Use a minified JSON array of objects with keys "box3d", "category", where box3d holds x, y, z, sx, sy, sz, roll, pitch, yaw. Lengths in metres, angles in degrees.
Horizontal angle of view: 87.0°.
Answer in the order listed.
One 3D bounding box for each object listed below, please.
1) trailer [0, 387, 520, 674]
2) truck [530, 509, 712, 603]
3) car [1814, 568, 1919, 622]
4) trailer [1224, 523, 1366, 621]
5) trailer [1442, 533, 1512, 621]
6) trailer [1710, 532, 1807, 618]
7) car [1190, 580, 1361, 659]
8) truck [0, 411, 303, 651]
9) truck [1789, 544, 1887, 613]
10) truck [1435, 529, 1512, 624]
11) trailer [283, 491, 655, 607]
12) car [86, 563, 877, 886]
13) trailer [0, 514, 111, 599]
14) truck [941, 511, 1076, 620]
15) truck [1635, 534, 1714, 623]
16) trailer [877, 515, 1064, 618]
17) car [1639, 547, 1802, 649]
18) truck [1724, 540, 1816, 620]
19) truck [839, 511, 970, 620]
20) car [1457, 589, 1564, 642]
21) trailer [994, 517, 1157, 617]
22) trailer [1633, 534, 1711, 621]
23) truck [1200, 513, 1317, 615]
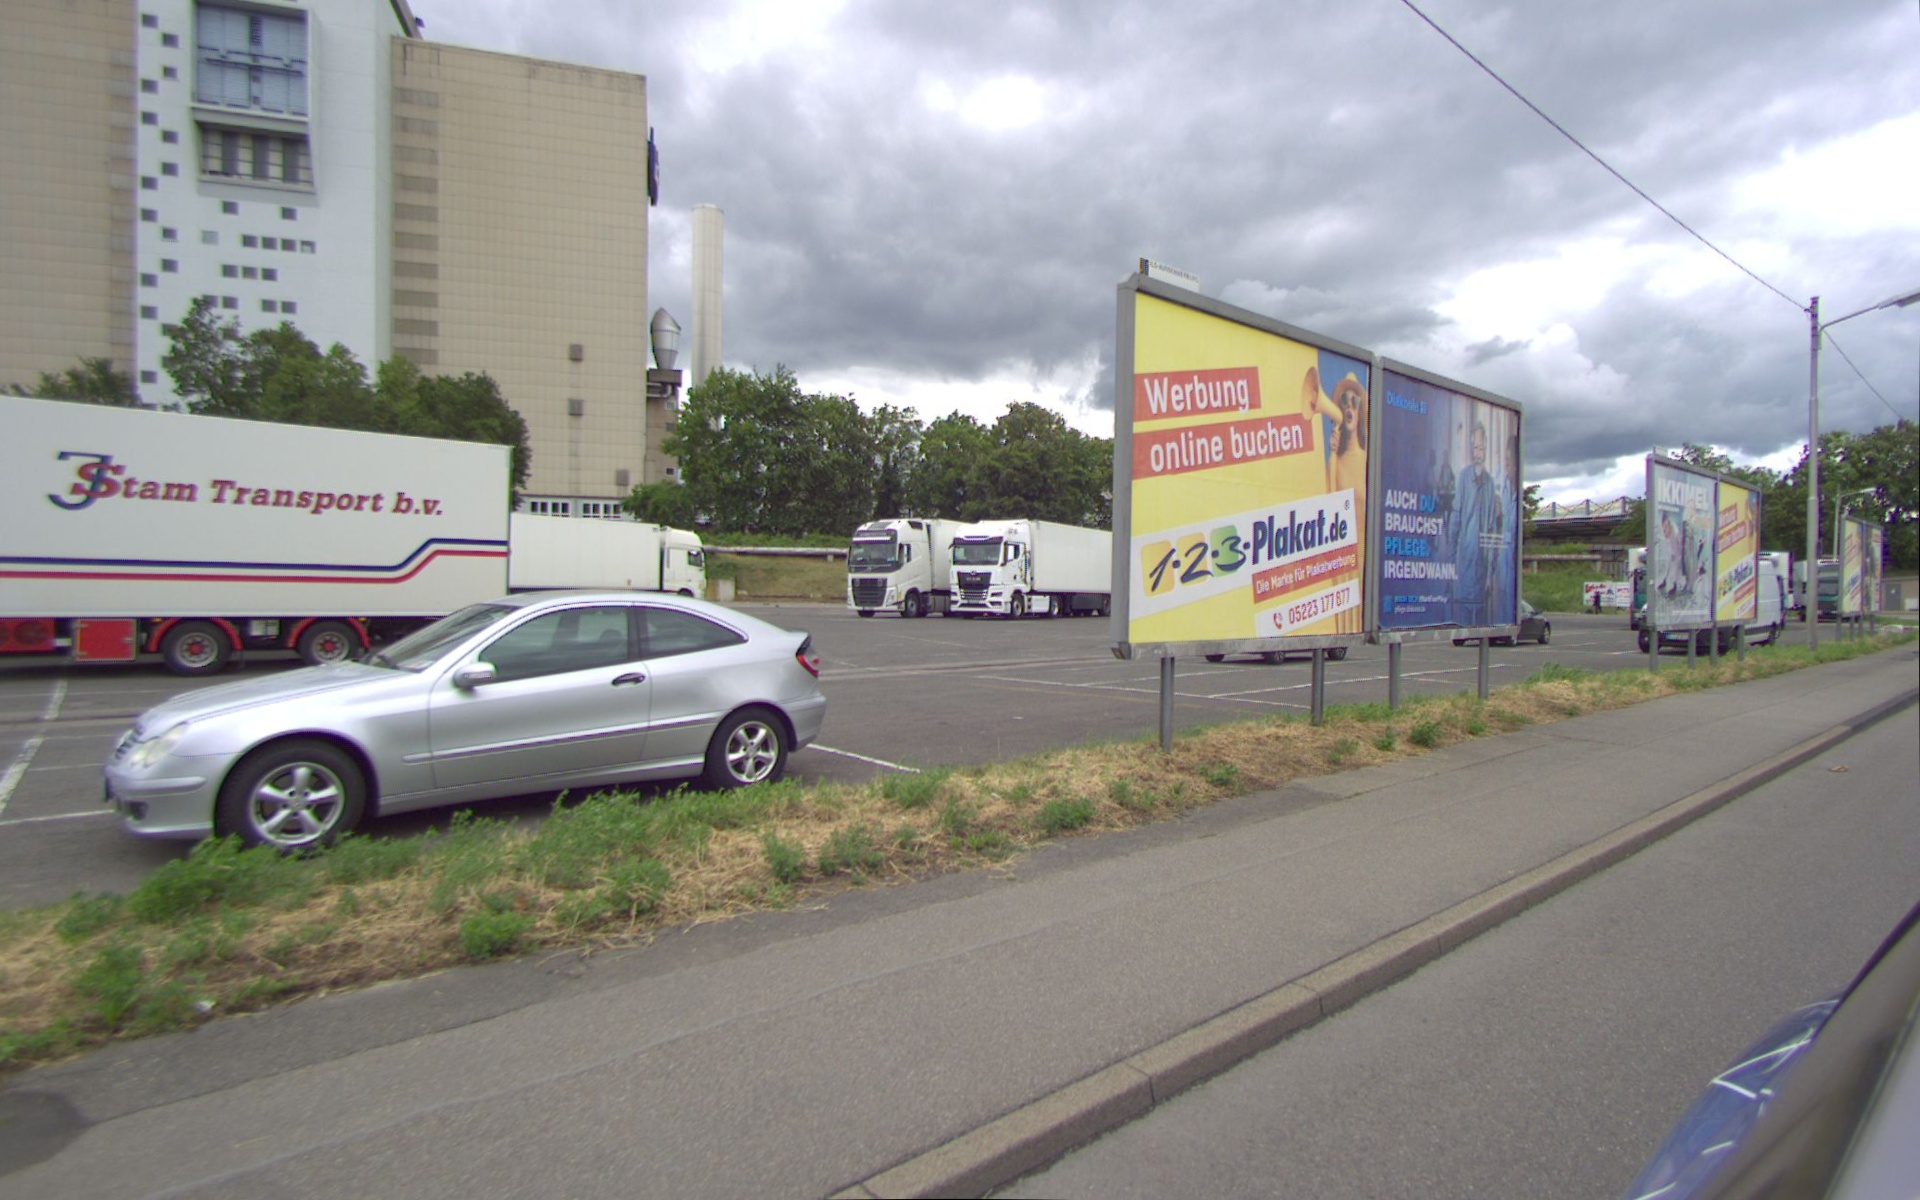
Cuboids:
[{"box3d":[-12.952,-1.049,16.465,10.215,4.016,2.966,0,3,-38],"category":"trailer"},{"box3d":[-15.390,-1.901,46.413,3.610,3.927,7.161,1,1,36],"category":"truck"},{"box3d":[66.020,-0.446,73.795,3.304,3.652,8.602,1,1,23],"category":"car"},{"box3d":[16.657,-1.319,49.355,2.822,4.145,13.228,2,2,35],"category":"trailer"},{"box3d":[27.792,-1.223,54.095,2.815,4.145,13.261,2,2,29],"category":"trailer"},{"box3d":[43.251,-1.362,55.198,2.820,4.145,13.238,2,2,33],"category":"trailer"},{"box3d":[6.962,0.391,22.167,3.931,1.591,1.767,0,-1,-41],"category":"car"},{"box3d":[-18.702,-1.215,16.780,12.840,4.016,3.081,-1,3,-41],"category":"truck"},{"box3d":[51.817,-1.244,59.953,2.808,3.758,9.004,1,1,31],"category":"truck"},{"box3d":[24.330,-1.107,47.809,2.850,4.145,6.687,2,2,29],"category":"truck"},{"box3d":[-19.125,-1.840,41.116,3.620,3.959,13.564,1,1,35],"category":"trailer"},{"box3d":[-2.888,0.544,6.790,4.480,1.482,1.776,0,1,-41],"category":"car"},{"box3d":[-49.218,-2.156,49.629,3.566,4.225,18.540,1,1,-13],"category":"trailer"},{"box3d":[2.140,-1.413,41.977,2.596,4.145,6.680,2,2,32],"category":"truck"},{"box3d":[34.788,-1.074,49.472,2.855,4.063,6.674,2,2,34],"category":"truck"},{"box3d":[0.905,-1.465,46.705,2.596,4.145,12.303,2,2,32],"category":"trailer"},{"box3d":[20.309,-0.081,26.914,5.974,2.445,2.091,0,1,-39],"category":"car"},{"box3d":[39.788,-1.001,49.919,2.855,3.675,6.674,2,2,34],"category":"truck"},{"box3d":[-2.195,-1.391,41.649,2.596,4.145,5.591,2,2,32],"category":"truck"},{"box3d":[16.950,0.442,31.097,3.980,1.513,1.497,0,1,-39],"category":"car"},{"box3d":[5.843,-1.508,47.965,2.596,4.145,12.303,2,2,32],"category":"trailer"},{"box3d":[38.103,-1.201,54.538,2.820,4.145,13.238,2,2,33],"category":"trailer"},{"box3d":[13.181,-1.542,44.391,2.857,4.145,6.671,2,2,35],"category":"truck"}]
